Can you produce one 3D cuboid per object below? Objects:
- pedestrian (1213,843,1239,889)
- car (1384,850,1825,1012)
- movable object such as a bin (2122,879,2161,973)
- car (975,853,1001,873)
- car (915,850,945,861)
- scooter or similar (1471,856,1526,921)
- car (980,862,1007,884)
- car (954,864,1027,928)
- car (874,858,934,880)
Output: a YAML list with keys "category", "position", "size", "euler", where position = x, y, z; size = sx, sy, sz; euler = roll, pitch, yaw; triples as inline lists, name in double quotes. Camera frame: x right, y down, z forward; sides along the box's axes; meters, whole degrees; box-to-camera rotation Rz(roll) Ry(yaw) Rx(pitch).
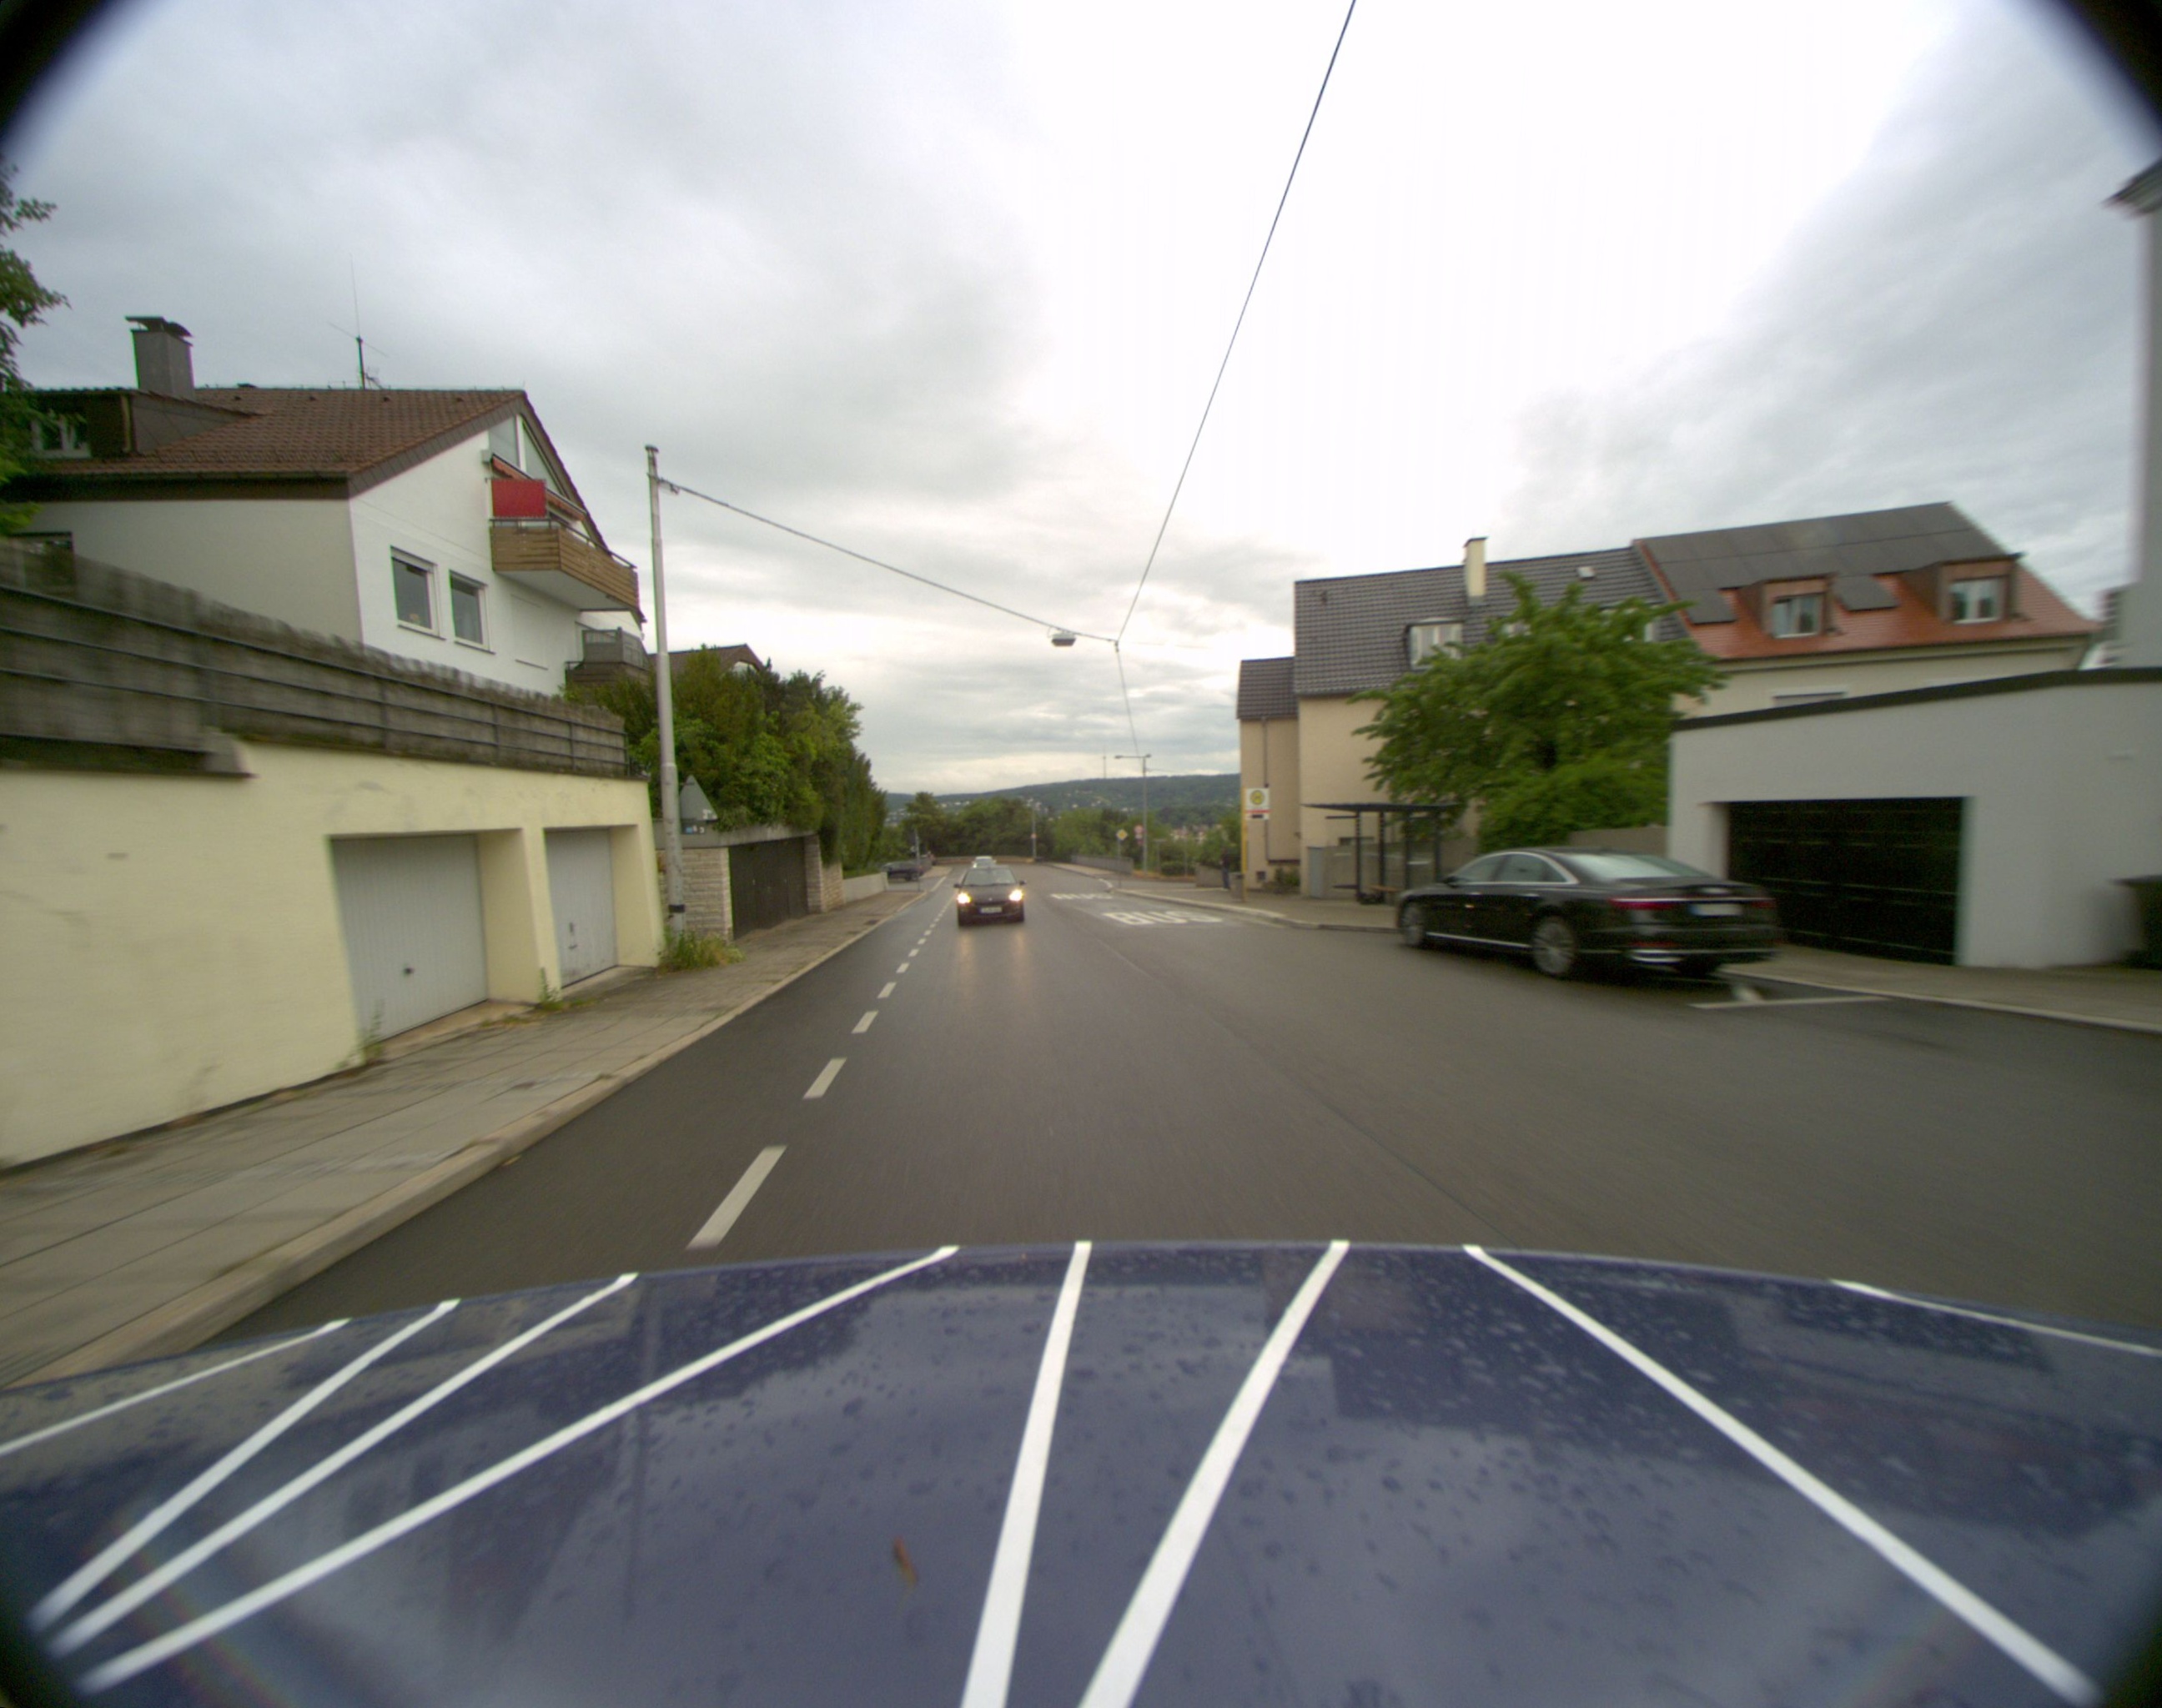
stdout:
- category: "pedestrian"
  position: [5.984, 0.476, 31.413]
  size: [0.789, 1.846, 0.727]
  euler: [-3, 1, -7]
- category: "car"
  position: [6.011, 0.726, 9.722]
  size: [1.834, 1.477, 4.988]
  euler: [-1, 0, -6]
- category: "movable object such as a bin"
  position: [10.647, 0.702, 7.477]
  size: [0.370, 0.907, 0.283]
  euler: [0, 1, 8]
- category: "car"
  position: [-8.318, 0.766, 67.830]
  size: [1.891, 1.566, 4.587]
  euler: [-3, 2, -12]
- category: "car"
  position: [-21.090, 0.168, 106.053]
  size: [3.989, 1.537, 1.742]
  euler: [0, 2, 30]
- category: "scooter or similar"
  position: [8.226, 0.658, 14.998]
  size: [0.338, 1.213, 1.122]
  euler: [-3, 1, -6]
- category: "car"
  position: [-6.275, 1.307, 54.146]
  size: [1.767, 1.445, 4.396]
  euler: [-2, 0, -8]
- category: "car"
  position: [-2.373, 1.034, 20.206]
  size: [1.681, 1.405, 3.635]
  euler: [-3, 1, -6]
- category: "car"
  position: [-14.209, 1.172, 60.961]
  size: [4.208, 1.514, 1.995]
  euler: [-3, 1, -33]
